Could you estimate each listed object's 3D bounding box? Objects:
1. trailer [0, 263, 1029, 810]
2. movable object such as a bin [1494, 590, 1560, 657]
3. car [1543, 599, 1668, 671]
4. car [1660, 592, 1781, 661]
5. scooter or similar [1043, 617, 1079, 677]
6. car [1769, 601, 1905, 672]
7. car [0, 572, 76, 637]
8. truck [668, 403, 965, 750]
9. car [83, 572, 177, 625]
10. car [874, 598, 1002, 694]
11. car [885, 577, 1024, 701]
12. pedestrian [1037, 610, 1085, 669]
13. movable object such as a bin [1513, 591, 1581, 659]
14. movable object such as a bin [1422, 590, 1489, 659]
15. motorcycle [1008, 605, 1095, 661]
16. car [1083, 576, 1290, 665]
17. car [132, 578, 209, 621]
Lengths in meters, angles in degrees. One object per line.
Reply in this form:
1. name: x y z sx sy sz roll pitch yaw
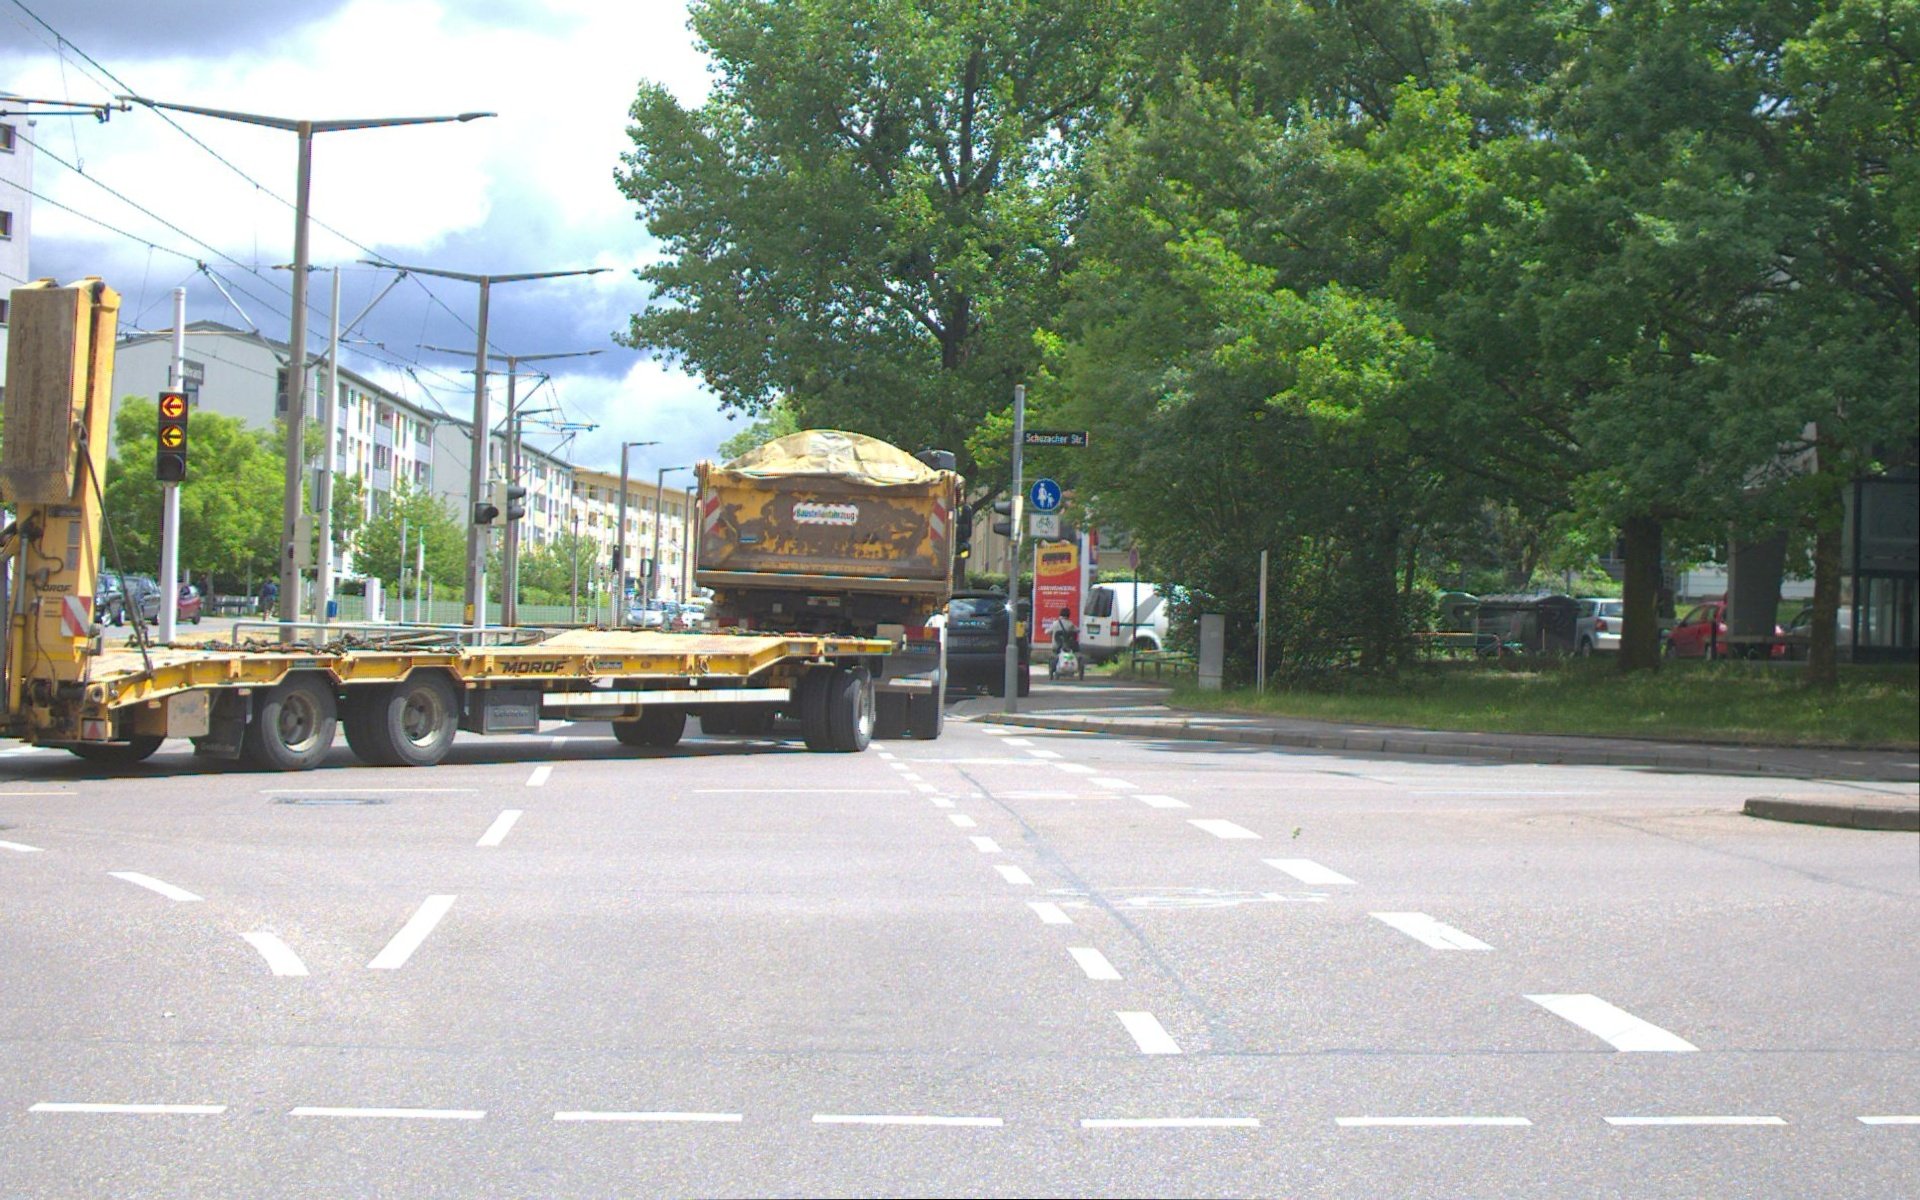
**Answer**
1. trailer: -4.040 -0.464 29.191 3.057 3.760 11.587 1 1 37
2. movable object such as a bin: 12.448 0.509 75.526 1.115 1.425 1.286 1 0 -6
3. car: 14.333 0.753 76.559 1.940 1.485 4.000 1 1 -1
4. car: 17.022 0.583 77.112 1.743 1.438 4.000 1 1 -1
5. scooter or similar: 1.829 0.842 62.147 0.476 1.051 0.897 1 0 -9
6. car: 19.433 0.783 76.355 1.743 1.465 4.001 1 1 -4
7. car: -26.026 0.114 95.767 1.993 1.657 4.100 3 0 -5
8. truck: -1.444 -0.269 37.309 2.833 3.319 7.985 1 1 -1
9. car: -26.561 -0.073 110.126 1.993 1.642 4.100 1 1 0
10. car: -0.395 0.730 56.543 1.643 1.453 4.077 1 1 -7
11. car: -0.122 0.554 52.049 1.643 1.756 4.570 1 1 -6
12. pedestrian: 1.822 0.714 62.135 0.775 1.051 0.547 1 0 -9
13. movable object such as a bin: 12.624 0.535 73.938 1.115 1.425 1.286 1 0 -6
14. movable object such as a bin: 10.529 0.508 73.028 1.115 1.425 1.286 1 0 -6
15. motorcycle: 2.035 0.736 76.550 1.794 1.206 0.712 1 0 -25
16. car: 4.802 0.440 72.779 3.986 1.816 1.811 1 1 -26
17. car: -26.792 -0.023 116.762 1.613 1.421 3.422 1 1 4
